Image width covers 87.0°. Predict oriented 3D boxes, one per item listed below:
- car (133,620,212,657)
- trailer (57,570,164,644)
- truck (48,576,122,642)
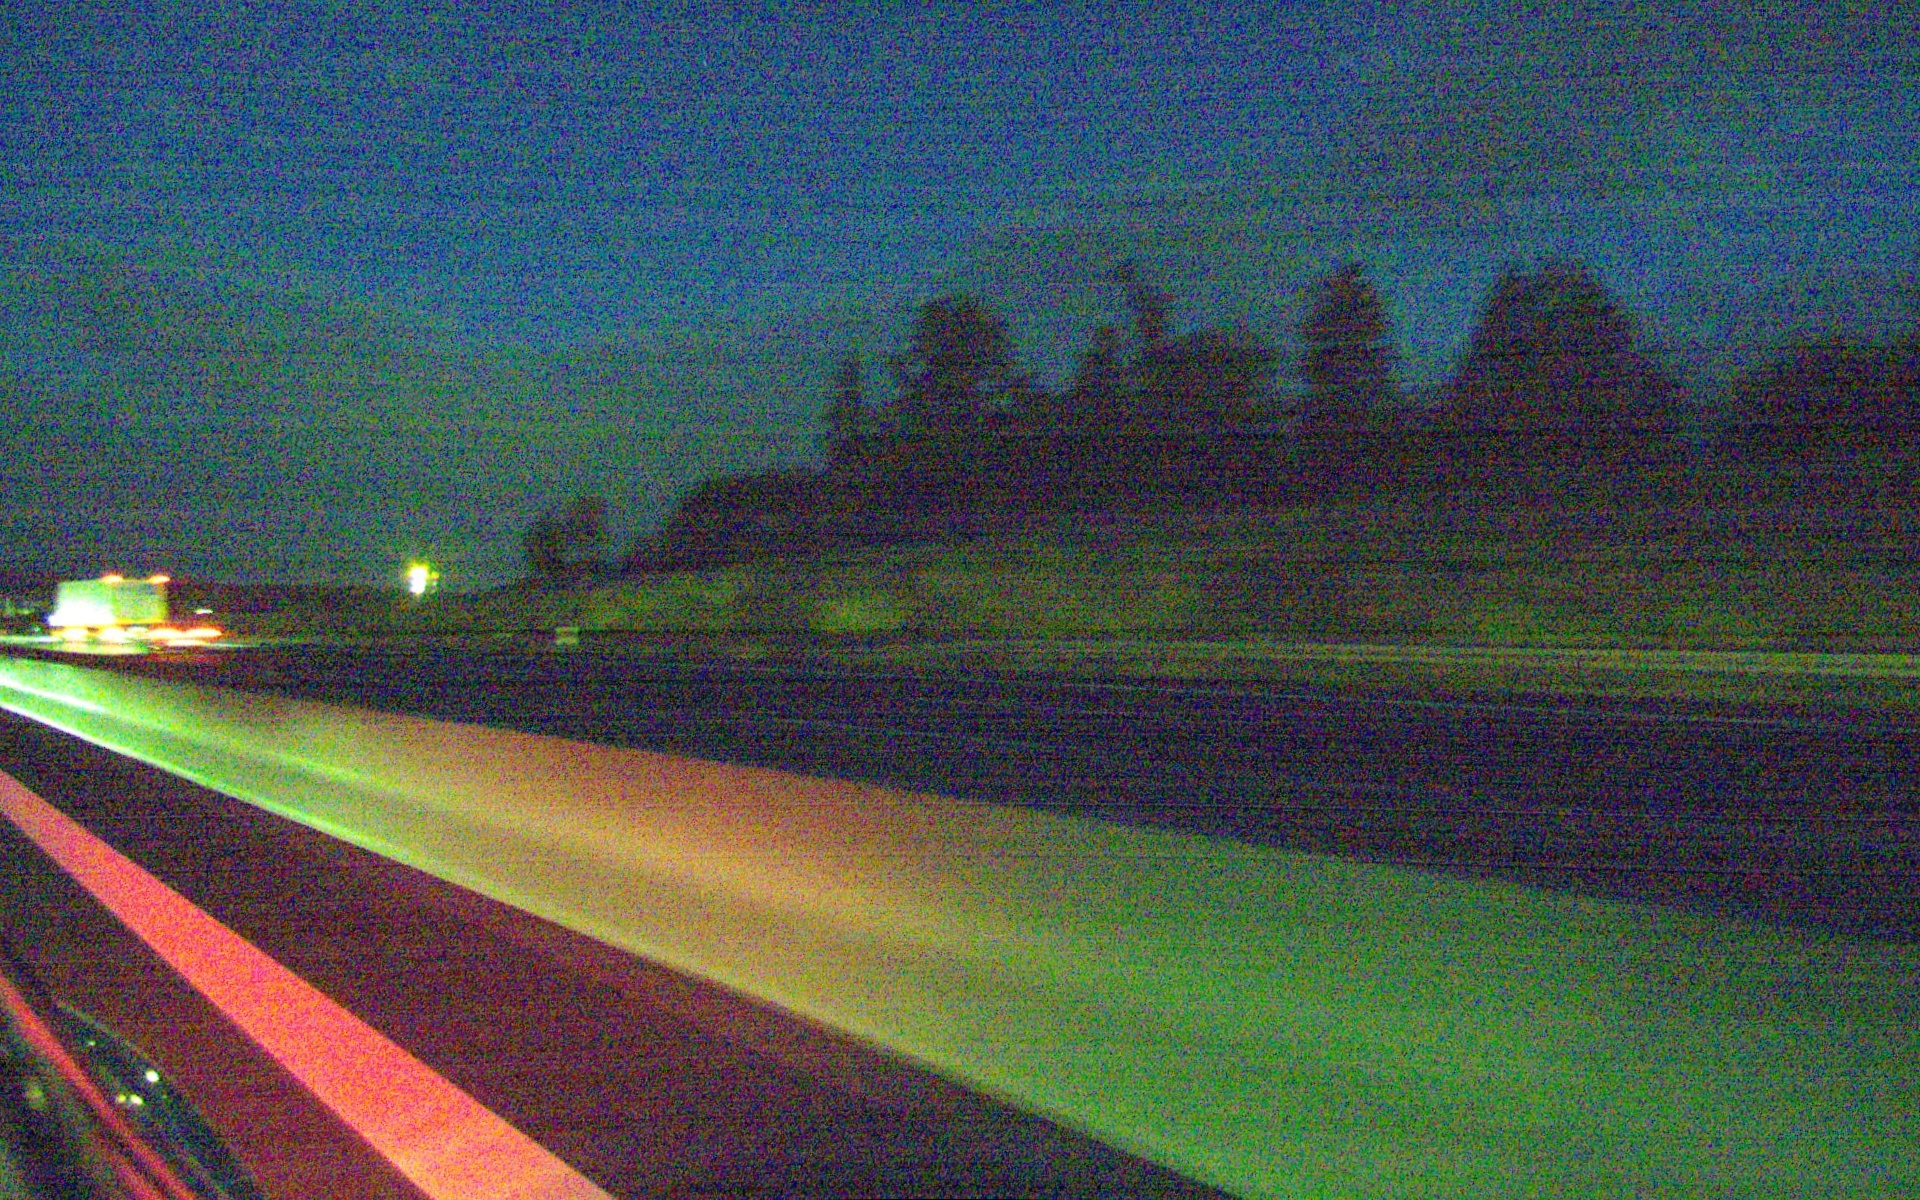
[{"bbox_3d":[-33.399,1.597,42.908,4.129,1.464,1.795,-1,-1,39],"label":"car"},{"bbox_3d":[-56.150,0.525,66.677,13.965,4.467,2.824,-1,0,39],"label":"trailer"},{"bbox_3d":[-61.452,0.624,71.028,6.389,4.467,2.824,-1,0,39],"label":"truck"}]
